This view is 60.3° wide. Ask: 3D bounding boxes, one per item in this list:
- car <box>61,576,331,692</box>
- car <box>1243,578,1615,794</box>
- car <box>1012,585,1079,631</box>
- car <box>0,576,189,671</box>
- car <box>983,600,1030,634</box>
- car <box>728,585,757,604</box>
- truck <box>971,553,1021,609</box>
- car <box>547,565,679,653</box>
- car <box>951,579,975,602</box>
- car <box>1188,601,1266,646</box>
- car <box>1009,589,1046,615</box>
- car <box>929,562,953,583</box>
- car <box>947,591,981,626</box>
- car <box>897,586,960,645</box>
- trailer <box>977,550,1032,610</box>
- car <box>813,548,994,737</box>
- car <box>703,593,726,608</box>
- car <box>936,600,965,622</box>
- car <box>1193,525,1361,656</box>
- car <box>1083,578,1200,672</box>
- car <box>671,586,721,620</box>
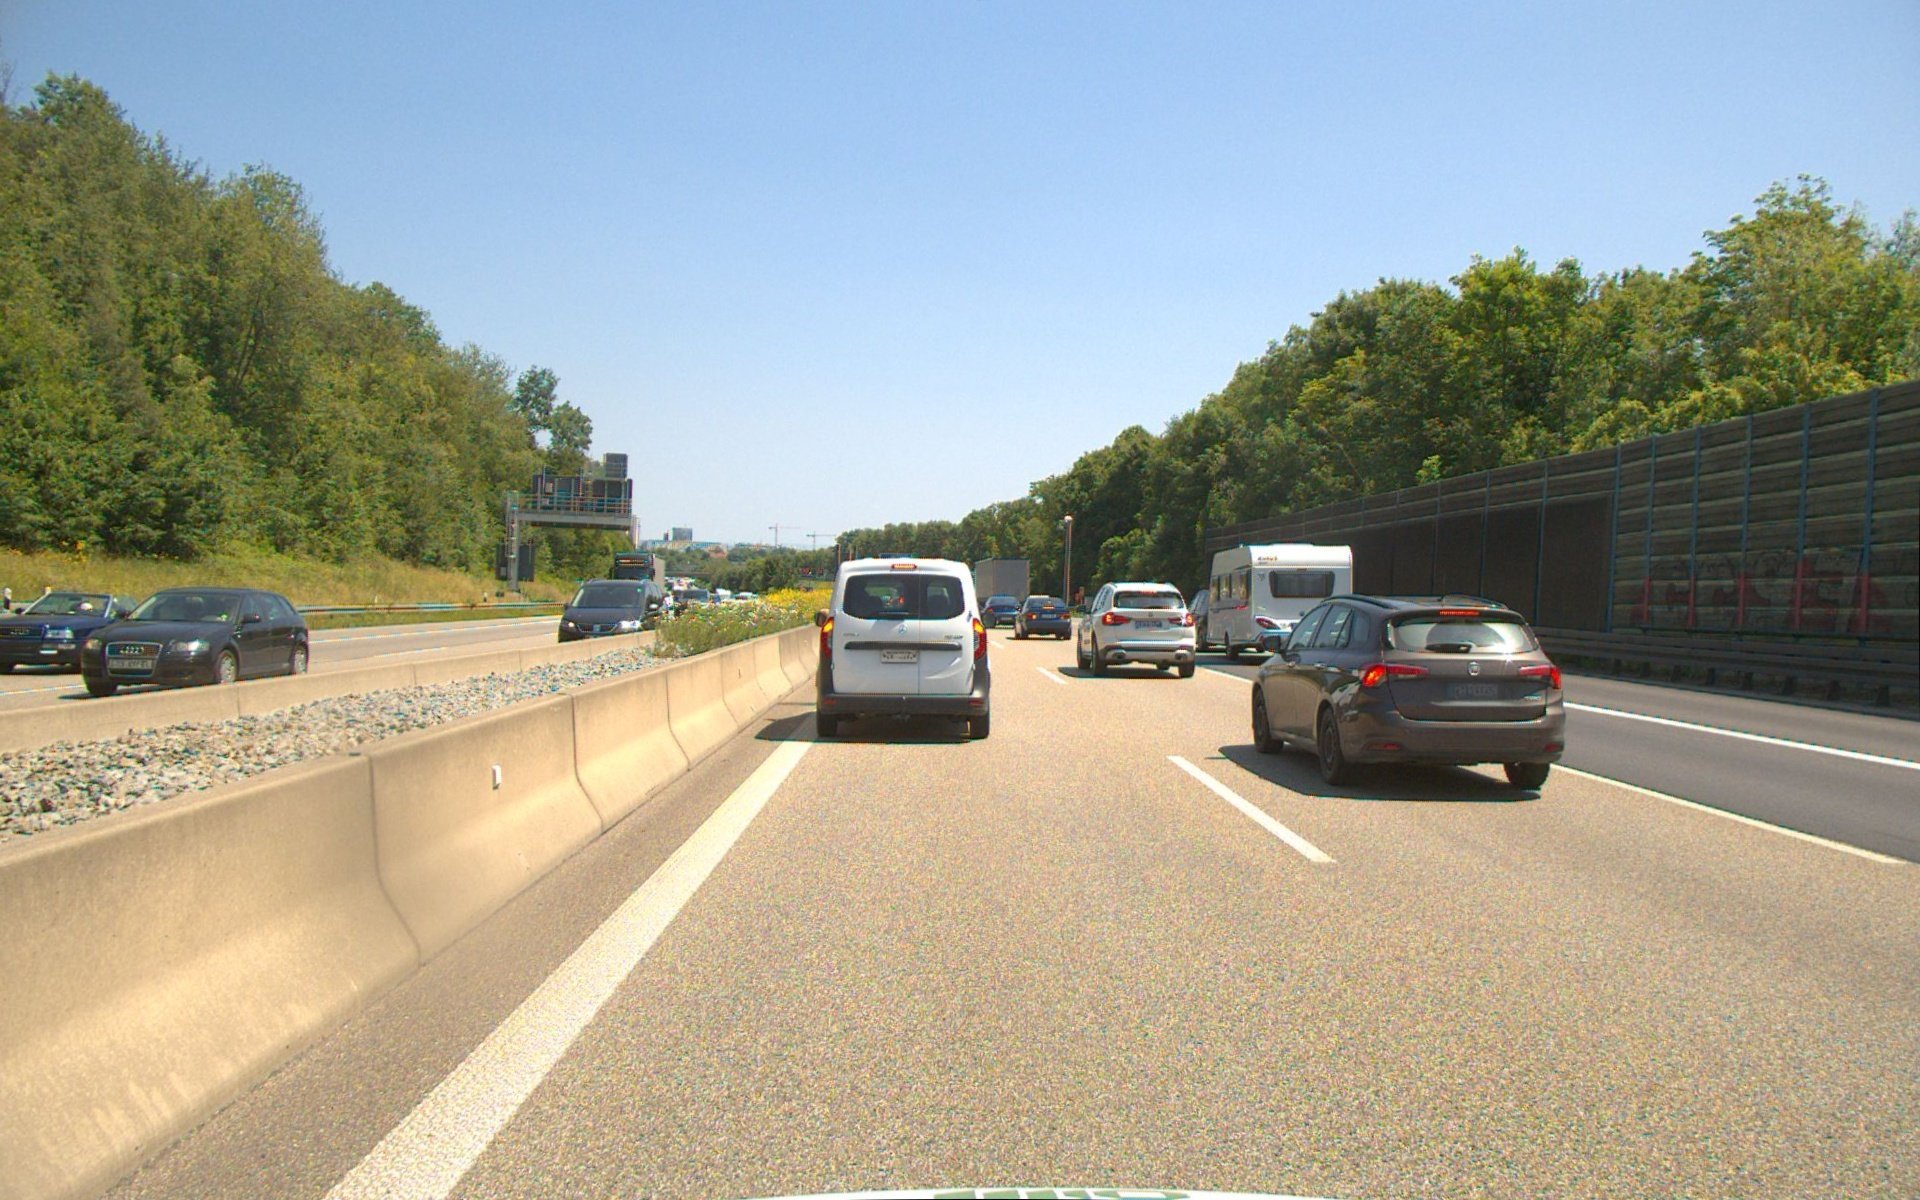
[{"bbox_3d":[-10.382,0.414,22.859,1.776,1.426,4.270,1,0,-1],"label":"car"},{"bbox_3d":[3.779,0.613,14.188,1.801,1.539,4.400,1,0,-2],"label":"car"},{"bbox_3d":[2.797,0.275,54.583,1.788,1.449,3.997,0,0,-3],"label":"car"},{"bbox_3d":[-14.844,0.356,27.926,1.803,1.478,3.999,1,0,-1],"label":"car"},{"bbox_3d":[2.047,0.739,73.604,1.788,1.449,3.997,0,0,-3],"label":"car"},{"bbox_3d":[-17.881,-0.476,136.033,1.953,1.524,4.245,1,0,-2],"label":"car"},{"bbox_3d":[2.655,-1.350,124.247,3.020,4.055,9.640,0,0,-3],"label":"truck"},{"bbox_3d":[-7.358,0.175,35.477,1.953,1.754,4.356,1,0,-1],"label":"car"},{"bbox_3d":[0.263,-0.816,148.100,1.954,2.049,3.998,0,0,-3],"label":"car"},{"bbox_3d":[8.793,0.759,54.757,1.787,1.449,3.998,0,0,-2],"label":"car"},{"bbox_3d":[3.874,0.126,95.529,1.788,1.449,3.998,1,0,-3],"label":"car"},{"bbox_3d":[-1.923,-2.727,165.281,1.955,2.049,3.994,0,0,-7],"label":"car"},{"bbox_3d":[0.225,0.512,98.660,1.788,2.024,3.998,1,0,-3],"label":"car"},{"bbox_3d":[-1.100,0.502,55.089,1.954,1.892,3.997,0,0,-3],"label":"car"},{"bbox_3d":[3.046,-1.351,116.908,3.020,4.055,10.316,0,0,-3],"label":"trailer"},{"bbox_3d":[-0.510,0.417,18.180,1.765,1.840,4.000,0,0,1],"label":"car"},{"bbox_3d":[-25.183,0.043,169.810,1.953,1.517,3.998,0,0,-2],"label":"car"},{"bbox_3d":[-0.672,0.761,114.296,1.788,1.472,3.997,0,0,-3],"label":"car"},{"bbox_3d":[7.287,-0.184,38.818,2.429,2.814,6.216,0,0,-3],"label":"car"},{"bbox_3d":[3.351,0.424,31.151,1.832,1.636,3.879,1,0,1],"label":"car"},{"bbox_3d":[-13.624,0.159,85.629,1.953,1.656,4.473,1,0,-2],"label":"car"}]
